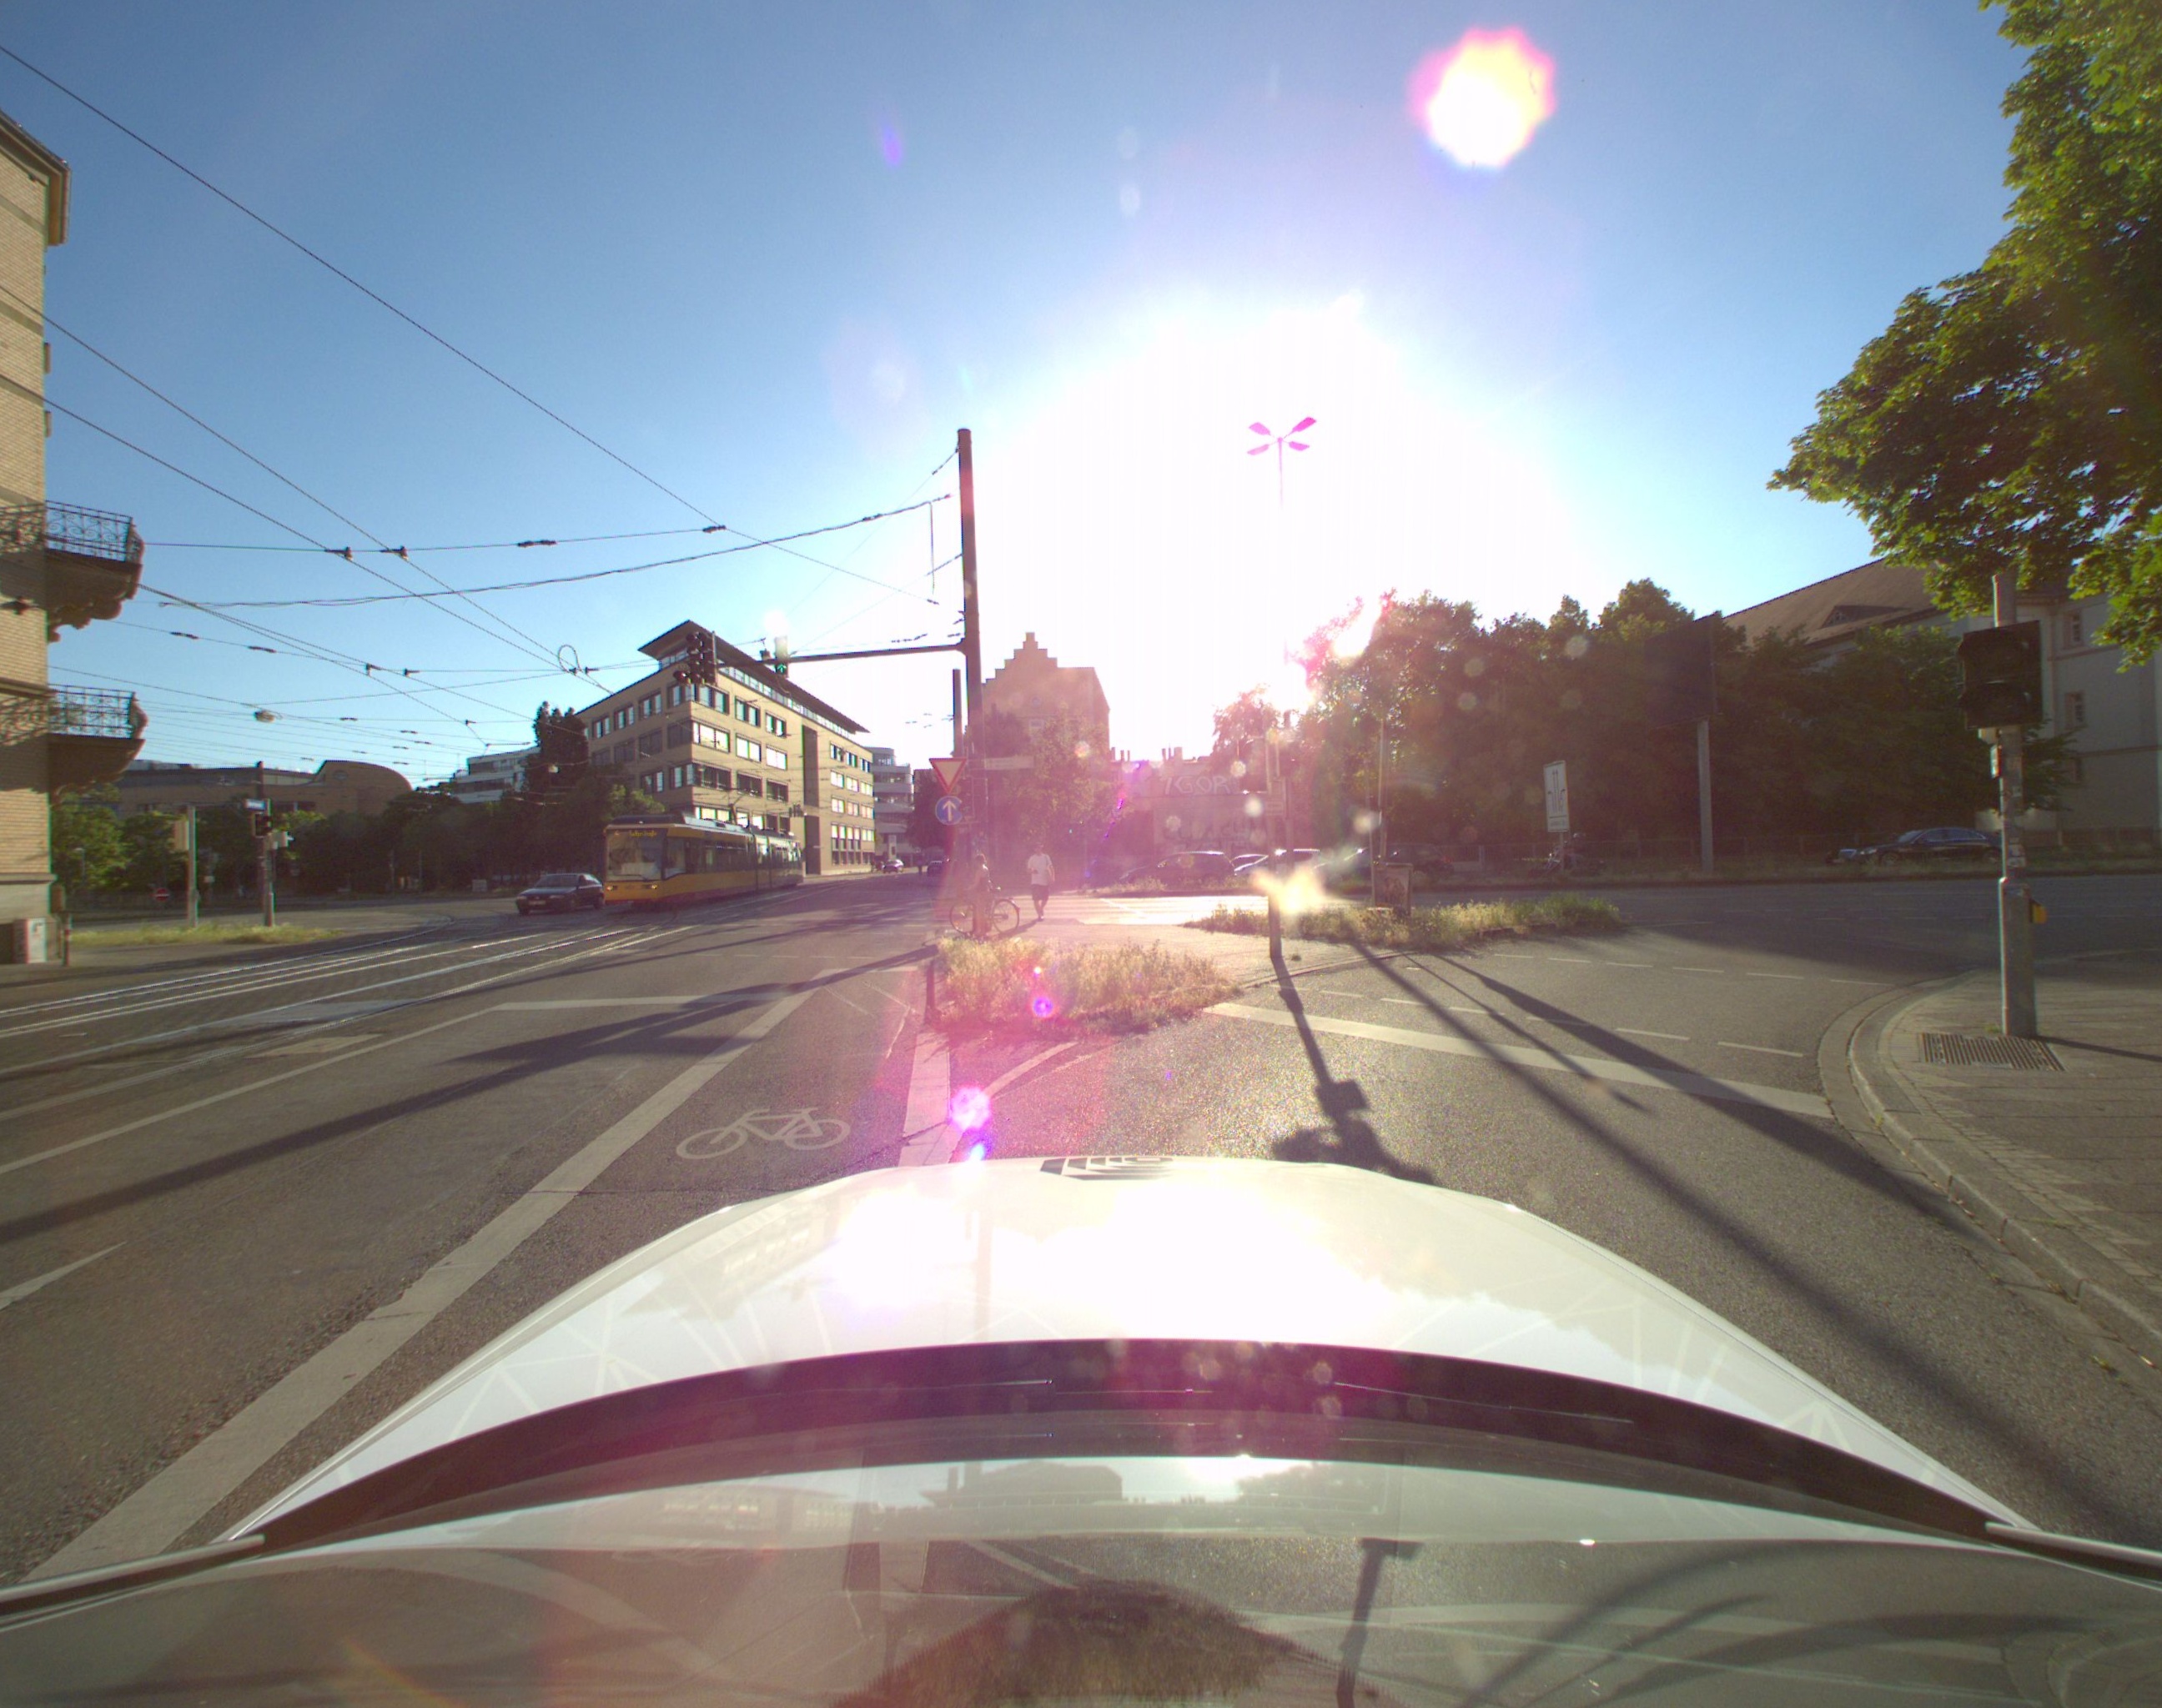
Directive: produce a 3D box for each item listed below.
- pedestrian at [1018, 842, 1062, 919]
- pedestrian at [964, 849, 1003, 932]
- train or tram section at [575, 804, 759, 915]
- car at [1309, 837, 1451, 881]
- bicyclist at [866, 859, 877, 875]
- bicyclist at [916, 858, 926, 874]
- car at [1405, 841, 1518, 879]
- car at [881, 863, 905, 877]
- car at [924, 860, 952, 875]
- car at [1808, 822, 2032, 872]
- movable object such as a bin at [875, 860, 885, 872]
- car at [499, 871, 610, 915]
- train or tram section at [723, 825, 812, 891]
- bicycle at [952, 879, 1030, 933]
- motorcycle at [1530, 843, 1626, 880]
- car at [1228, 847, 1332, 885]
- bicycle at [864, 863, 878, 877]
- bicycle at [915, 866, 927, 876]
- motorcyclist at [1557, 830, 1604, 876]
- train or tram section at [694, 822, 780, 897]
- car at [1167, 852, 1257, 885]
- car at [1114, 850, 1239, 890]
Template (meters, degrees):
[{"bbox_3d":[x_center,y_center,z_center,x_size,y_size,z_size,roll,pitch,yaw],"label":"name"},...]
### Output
[{"bbox_3d":[-0.991,0.621,19.473,0.908,1.789,0.825,-2,-1,-9],"label":"pedestrian"},{"bbox_3d":[-1.941,0.722,16.270,0.519,1.631,0.492,-2,-1,33],"label":"pedestrian"},{"bbox_3d":[-15.892,0.228,32.755,2.861,3.508,12.968,-2,0,-10],"label":"train or tram section"},{"bbox_3d":[9.998,0.169,27.584,4.331,1.296,1.731,-2,0,14],"label":"car"},{"bbox_3d":[-26.572,1.611,103.141,1.026,2.014,1.247,0,-2,2],"label":"bicyclist"},{"bbox_3d":[-15.242,1.157,77.504,0.671,1.522,0.814,-2,0,2],"label":"bicyclist"},{"bbox_3d":[16.100,0.240,34.632,3.965,1.464,1.864,-2,0,7],"label":"car"},{"bbox_3d":[-23.468,2.009,101.872,1.810,1.614,4.465,-2,0,0],"label":"car"},{"bbox_3d":[-13.808,1.275,78.989,1.778,1.388,4.002,-2,0,2],"label":"car"},{"bbox_3d":[28.735,-0.228,28.059,5.245,1.496,2.005,-2,0,8],"label":"car"},{"bbox_3d":[-27.937,1.619,113.101,1.063,1.628,0.888,-2,0,-2],"label":"movable object such as a bin"},{"bbox_3d":[-18.854,1.352,29.376,1.809,1.380,4.149,-2,0,-9],"label":"car"},{"bbox_3d":[-18.867,0.279,49.781,2.861,3.508,11.257,-2,0,-10],"label":"train or tram section"},{"bbox_3d":[-1.822,1.035,16.312,1.650,1.029,0.402,-2,-1,33],"label":"bicycle"},{"bbox_3d":[15.917,0.234,26.154,2.444,1.108,0.865,-2,0,14],"label":"motorcycle"},{"bbox_3d":[7.781,0.459,32.012,3.855,1.319,1.730,-2,0,12],"label":"car"},{"bbox_3d":[-26.578,1.982,103.169,1.026,1.651,2.562,-2,0,3],"label":"bicycle"},{"bbox_3d":[-15.215,1.618,77.482,0.692,0.877,2.028,-2,0,2],"label":"bicycle"},{"bbox_3d":[16.022,-0.032,26.150,1.050,1.398,0.858,-2,0,14],"label":"motorcyclist"},{"bbox_3d":[-17.449,0.292,41.713,2.861,3.508,5.284,-2,0,-10],"label":"train or tram section"},{"bbox_3d":[5.904,0.646,36.661,3.855,1.296,1.730,-2,0,12],"label":"car"},{"bbox_3d":[3.468,0.558,29.471,4.203,1.296,1.731,-2,0,16],"label":"car"}]
